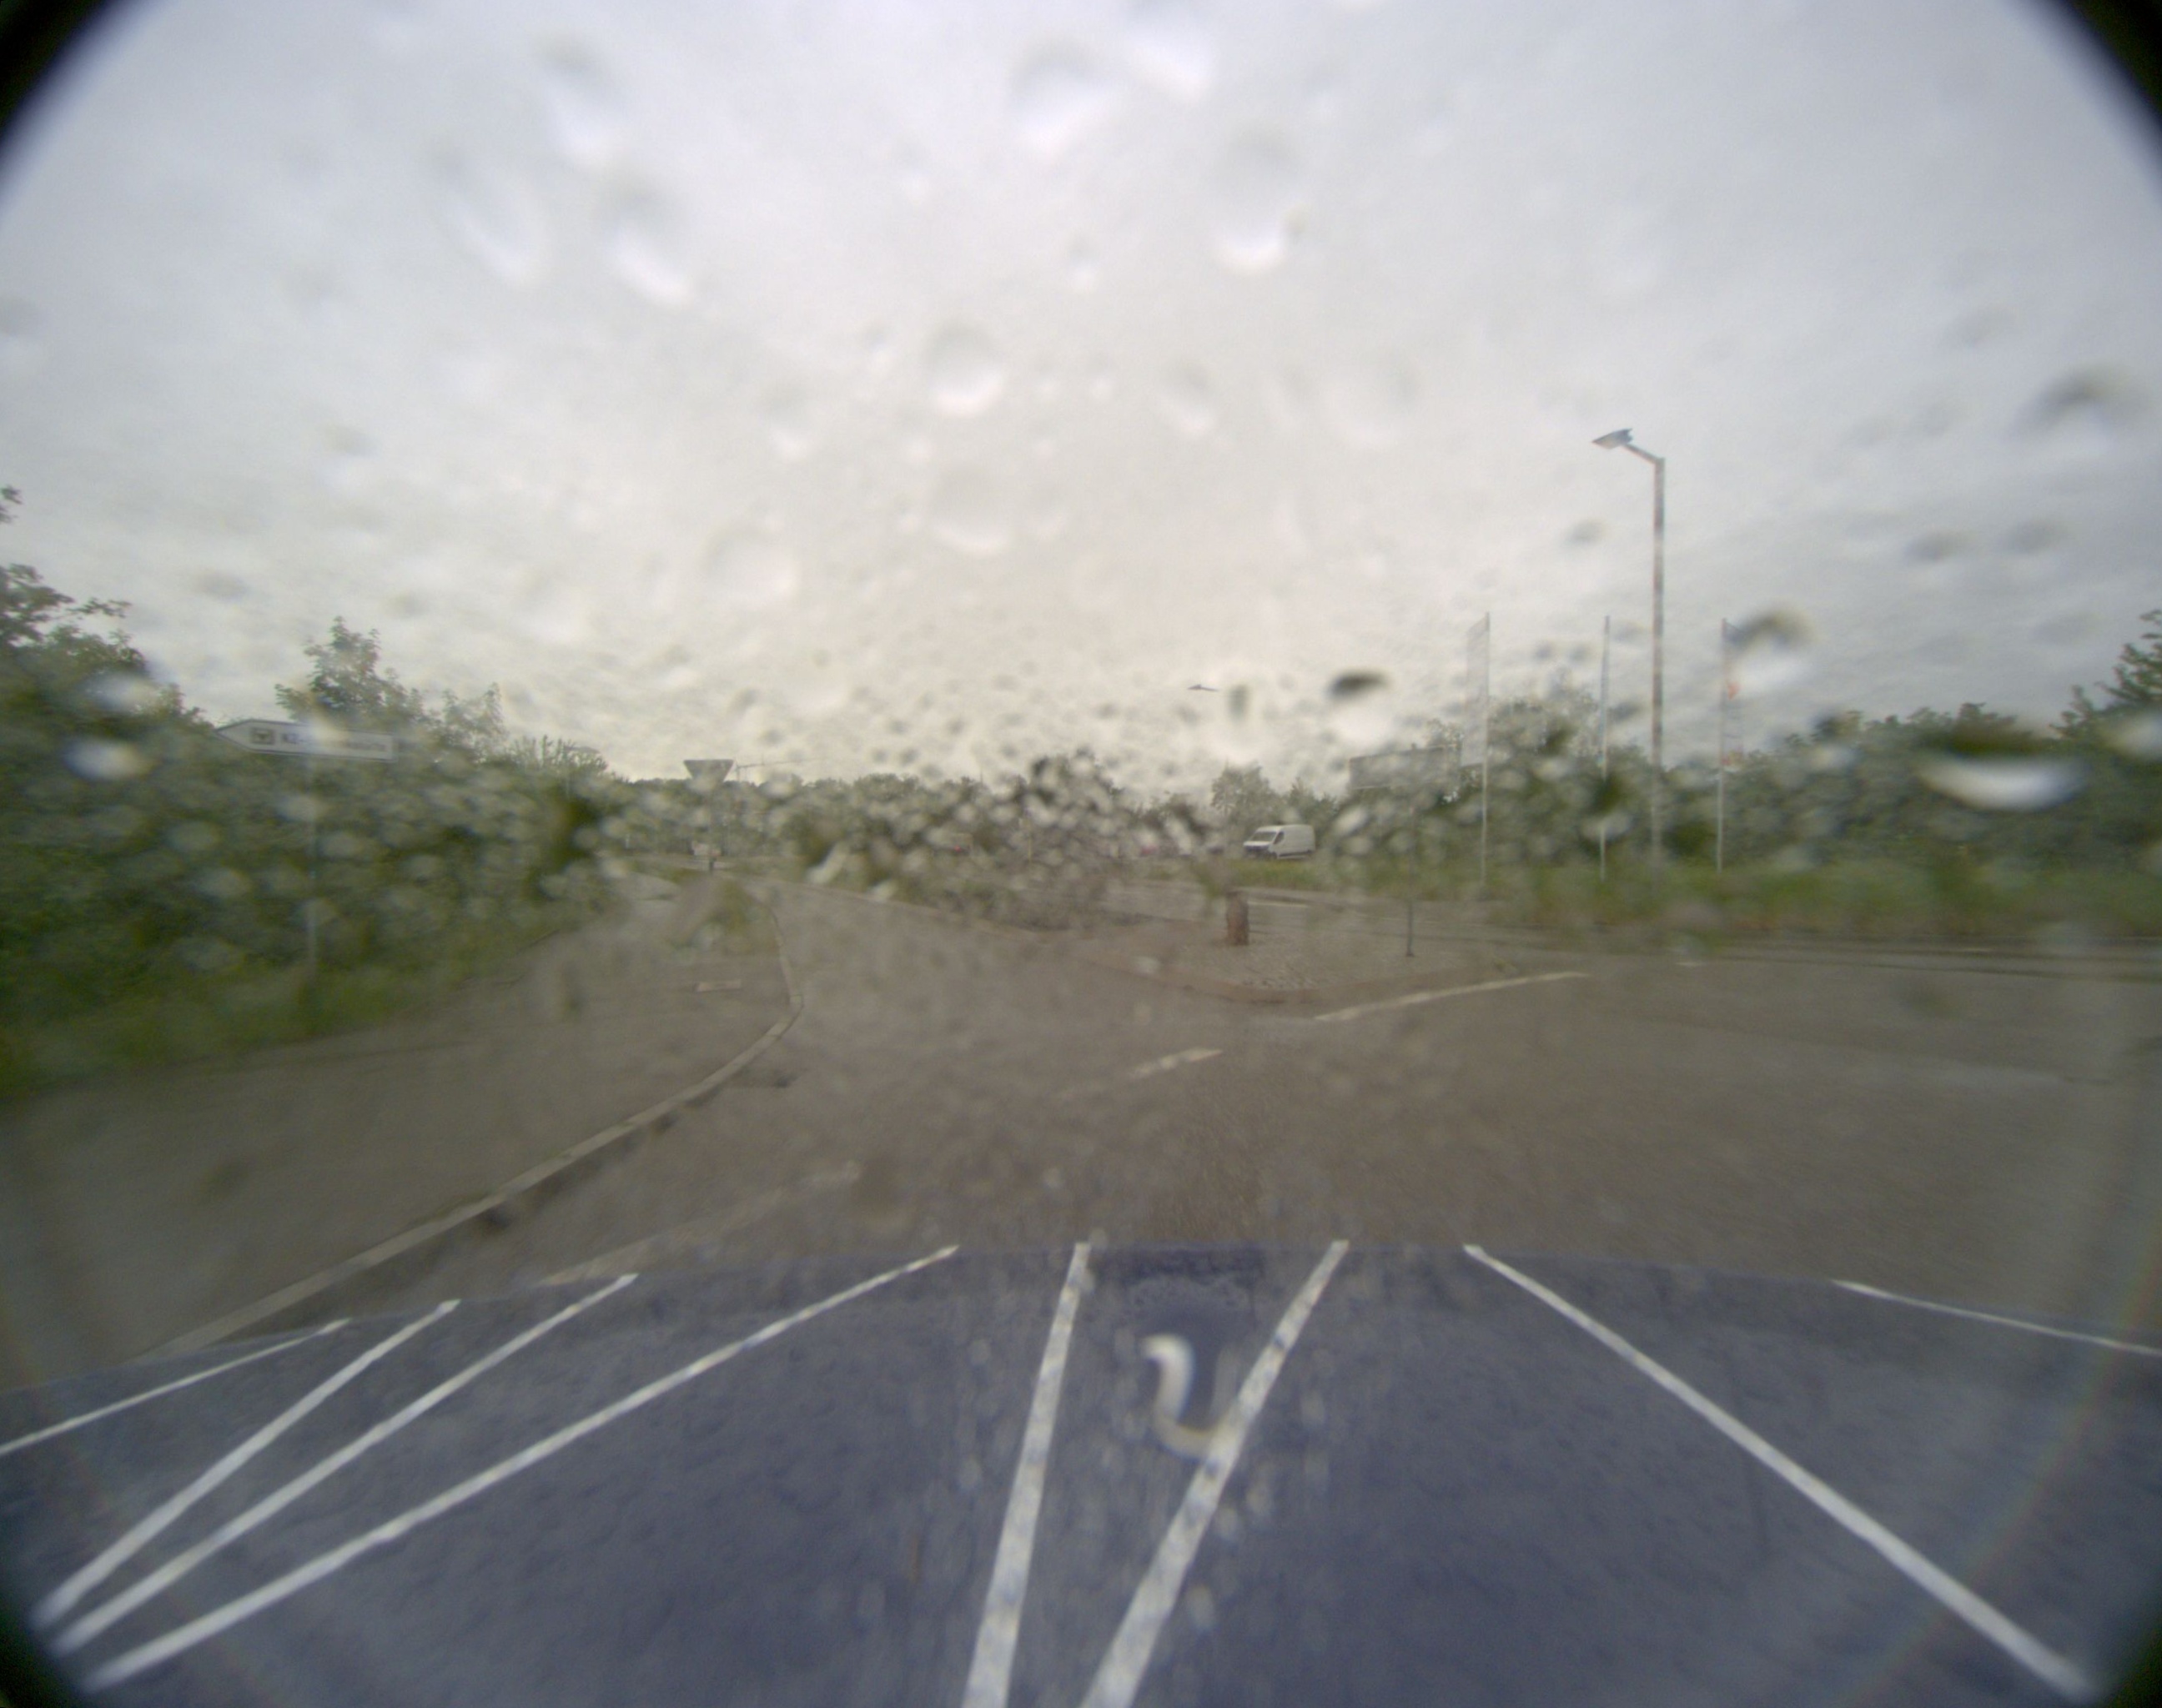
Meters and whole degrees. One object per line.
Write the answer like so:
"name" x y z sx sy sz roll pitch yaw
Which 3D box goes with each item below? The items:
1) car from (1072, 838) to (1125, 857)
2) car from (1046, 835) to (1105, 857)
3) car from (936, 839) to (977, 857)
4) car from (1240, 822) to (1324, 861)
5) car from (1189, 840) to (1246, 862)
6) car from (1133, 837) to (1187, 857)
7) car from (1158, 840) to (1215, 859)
"car" 1.455 -0.577 62.179 4.006 1.356 1.894 -4 3 -37
"car" -0.418 -0.699 63.954 4.730 1.684 1.999 -2 2 -39
"car" -11.738 -0.558 71.345 1.699 1.560 4.529 -4 3 -40
"car" 13.402 -0.890 50.428 6.589 2.384 2.132 -2 4 -43
"car" 9.692 -0.265 53.732 4.006 1.356 1.648 -4 3 -37
"car" 6.085 -0.563 58.554 4.008 1.461 1.842 -1 1 -39
"car" 7.759 -0.363 55.564 4.008 1.356 1.842 -1 1 -37
